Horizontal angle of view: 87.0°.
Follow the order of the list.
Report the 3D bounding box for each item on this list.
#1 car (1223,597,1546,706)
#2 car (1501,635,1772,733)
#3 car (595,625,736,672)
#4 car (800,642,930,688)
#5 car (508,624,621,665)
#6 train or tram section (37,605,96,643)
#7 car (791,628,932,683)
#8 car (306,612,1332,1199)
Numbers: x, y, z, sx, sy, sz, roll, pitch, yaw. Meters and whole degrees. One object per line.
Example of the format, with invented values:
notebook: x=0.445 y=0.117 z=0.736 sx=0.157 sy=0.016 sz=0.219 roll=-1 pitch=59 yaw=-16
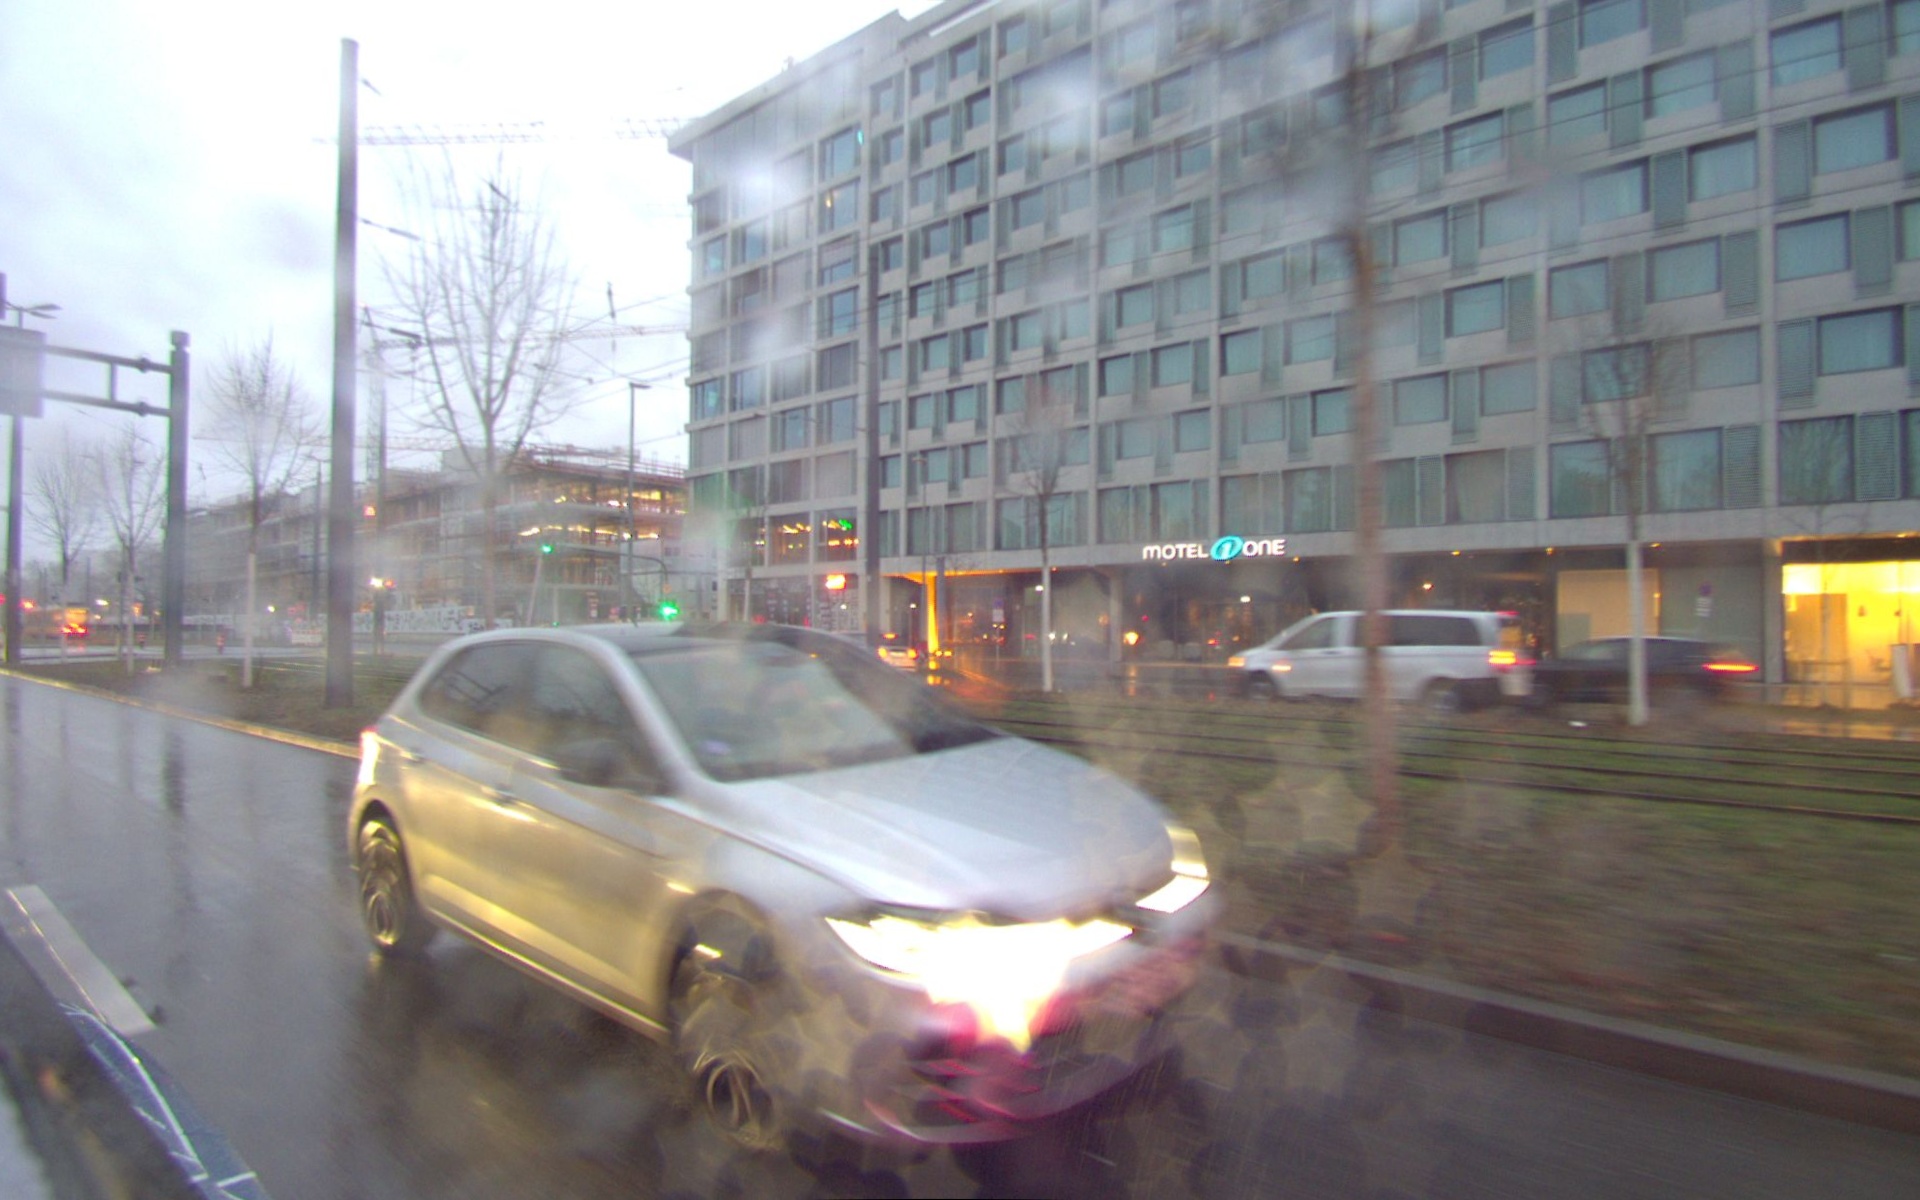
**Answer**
car: x=7.585 y=0.893 z=18.450 sx=5.113 sy=1.732 sz=1.877 roll=-1 pitch=-2 yaw=40
car: x=14.127 y=1.655 z=21.293 sx=4.527 sy=1.827 sz=1.876 roll=-1 pitch=-2 yaw=41
car: x=-9.997 y=1.625 z=34.391 sx=4.425 sy=1.508 sz=1.983 roll=-1 pitch=-2 yaw=26
car: x=-3.475 y=2.287 z=36.465 sx=4.790 sy=1.528 sz=1.876 roll=-1 pitch=-2 yaw=41
car: x=-15.187 y=1.668 z=38.711 sx=5.032 sy=1.479 sz=1.972 roll=-1 pitch=-2 yaw=42
train or tram section: x=-87.911 y=2.383 z=99.470 sx=14.266 sy=3.513 sz=2.924 roll=-2 pitch=-3 yaw=43
car: x=-2.775 y=1.494 z=28.131 sx=3.704 sy=1.442 sz=1.876 roll=-1 pitch=-2 yaw=40
car: x=-0.866 y=0.752 z=3.913 sx=3.978 sy=1.381 sz=1.745 roll=-1 pitch=-1 yaw=40
